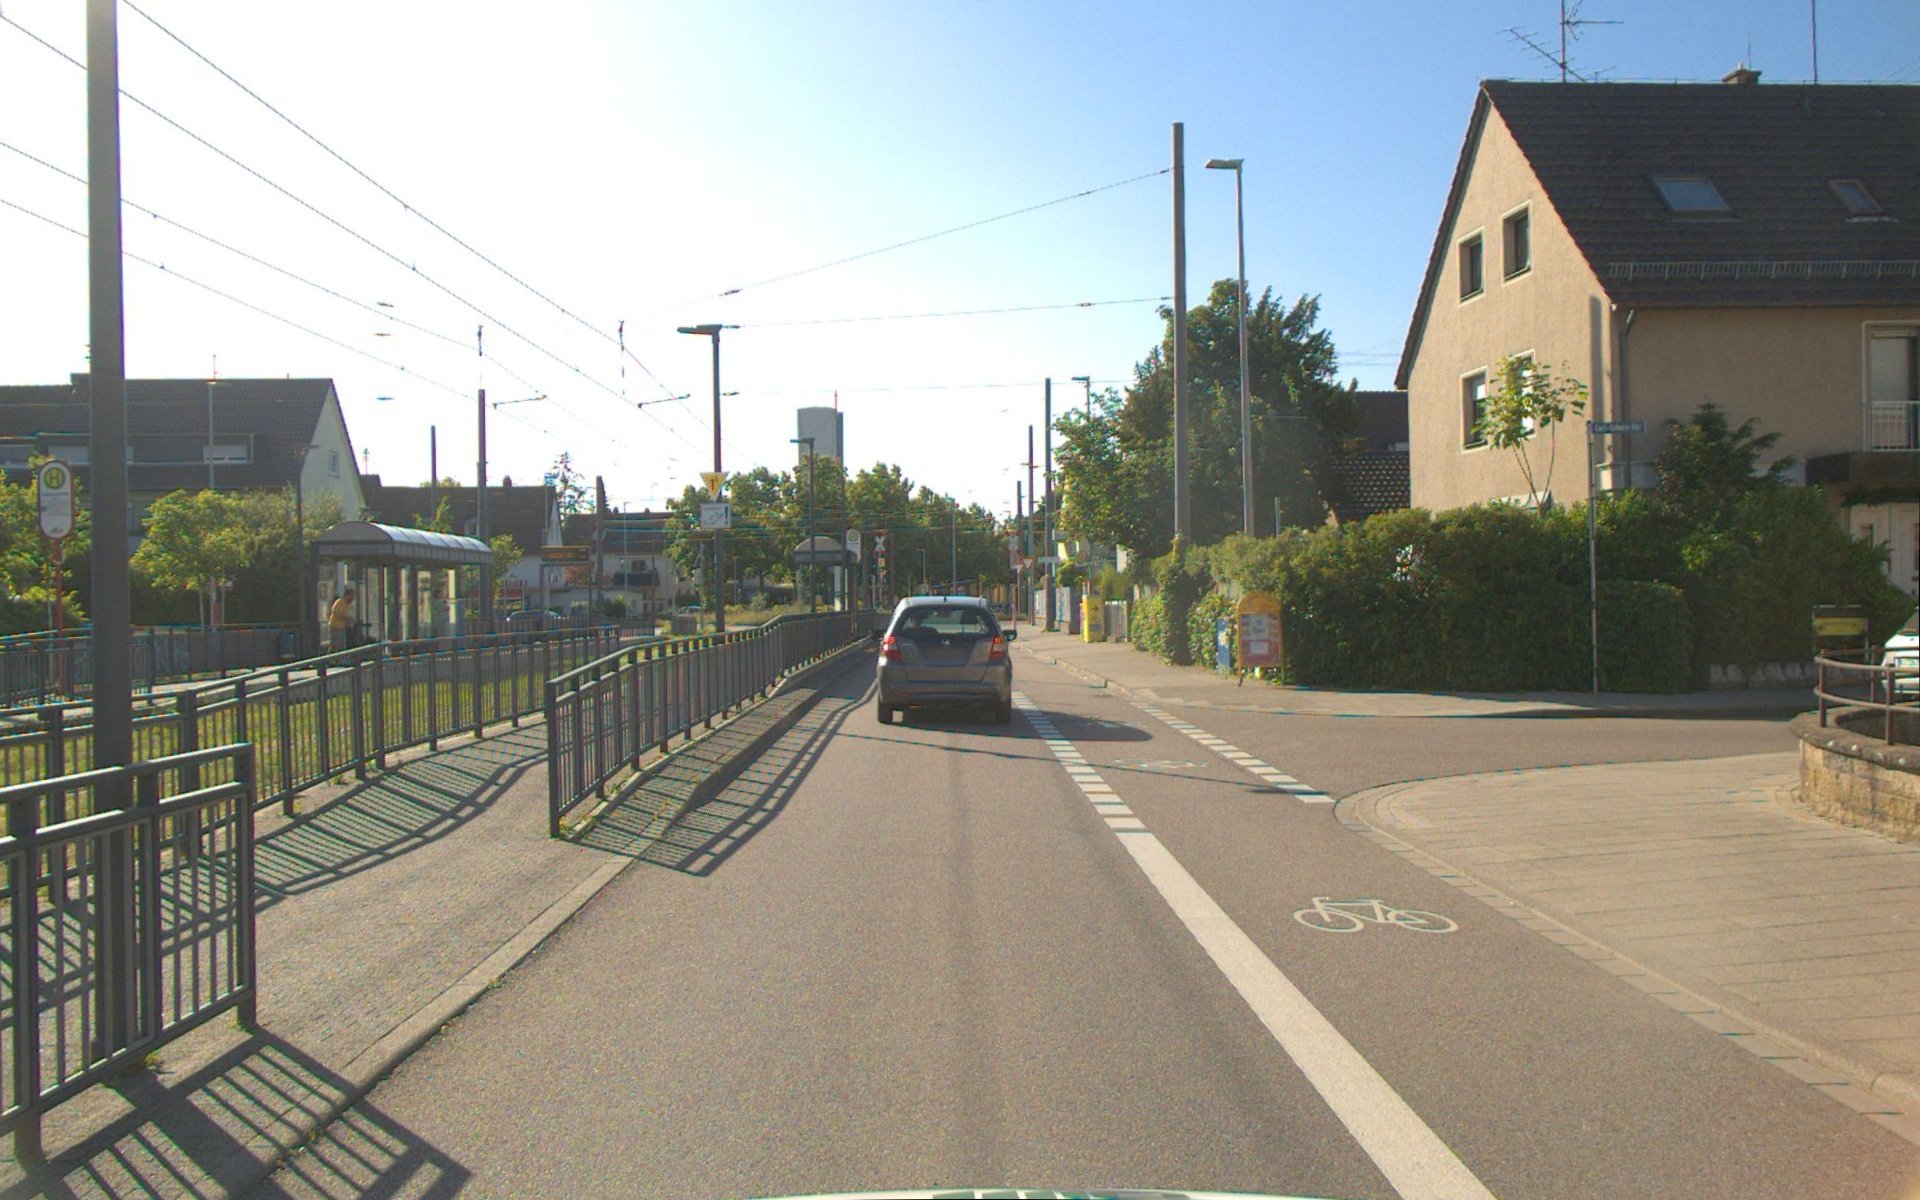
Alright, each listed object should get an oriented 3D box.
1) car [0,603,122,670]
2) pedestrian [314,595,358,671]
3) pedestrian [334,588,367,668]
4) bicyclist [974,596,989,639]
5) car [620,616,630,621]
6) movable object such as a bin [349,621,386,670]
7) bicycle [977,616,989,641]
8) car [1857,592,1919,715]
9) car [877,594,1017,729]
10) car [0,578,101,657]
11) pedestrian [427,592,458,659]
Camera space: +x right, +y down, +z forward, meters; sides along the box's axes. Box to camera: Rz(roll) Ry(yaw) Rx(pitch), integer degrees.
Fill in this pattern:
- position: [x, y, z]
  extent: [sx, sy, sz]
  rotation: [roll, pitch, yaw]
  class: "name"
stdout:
- position: [-25.955, 1.031, 46.589]
  extent: [3.773, 1.838, 1.796]
  rotation: [1, -1, -9]
  class: "car"
- position: [-13.058, 0.691, 34.646]
  extent: [0.662, 1.562, 0.748]
  rotation: [-1, 0, -5]
  class: "pedestrian"
- position: [-13.376, 0.607, 36.292]
  extent: [0.509, 1.738, 0.580]
  rotation: [-1, 0, -5]
  class: "pedestrian"
- position: [0.860, 0.704, 67.267]
  extent: [0.586, 1.731, 0.683]
  rotation: [0, -1, -1]
  class: "bicyclist"
- position: [-25.464, 1.420, 125.791]
  extent: [0.684, 0.342, 0.329]
  rotation: [0, -1, 4]
  class: "car"
- position: [-12.461, 0.944, 34.799]
  extent: [0.535, 1.005, 0.741]
  rotation: [-1, 0, -5]
  class: "movable object such as a bin"
- position: [0.935, 1.167, 67.436]
  extent: [0.465, 0.978, 1.656]
  rotation: [0, -1, -1]
  class: "bicycle"
- position: [13.903, 0.633, 21.026]
  extent: [4.059, 1.538, 1.799]
  rotation: [-1, -2, -6]
  class: "car"
- position: [-0.199, 0.744, 21.214]
  extent: [1.637, 1.562, 3.485]
  rotation: [1, -1, -2]
  class: "car"
- position: [-24.906, 0.445, 43.191]
  extent: [3.913, 2.004, 1.929]
  rotation: [1, -1, -9]
  class: "car"
- position: [-13.556, 0.658, 43.335]
  extent: [0.490, 1.726, 0.771]
  rotation: [-3, 0, 0]
  class: "pedestrian"
